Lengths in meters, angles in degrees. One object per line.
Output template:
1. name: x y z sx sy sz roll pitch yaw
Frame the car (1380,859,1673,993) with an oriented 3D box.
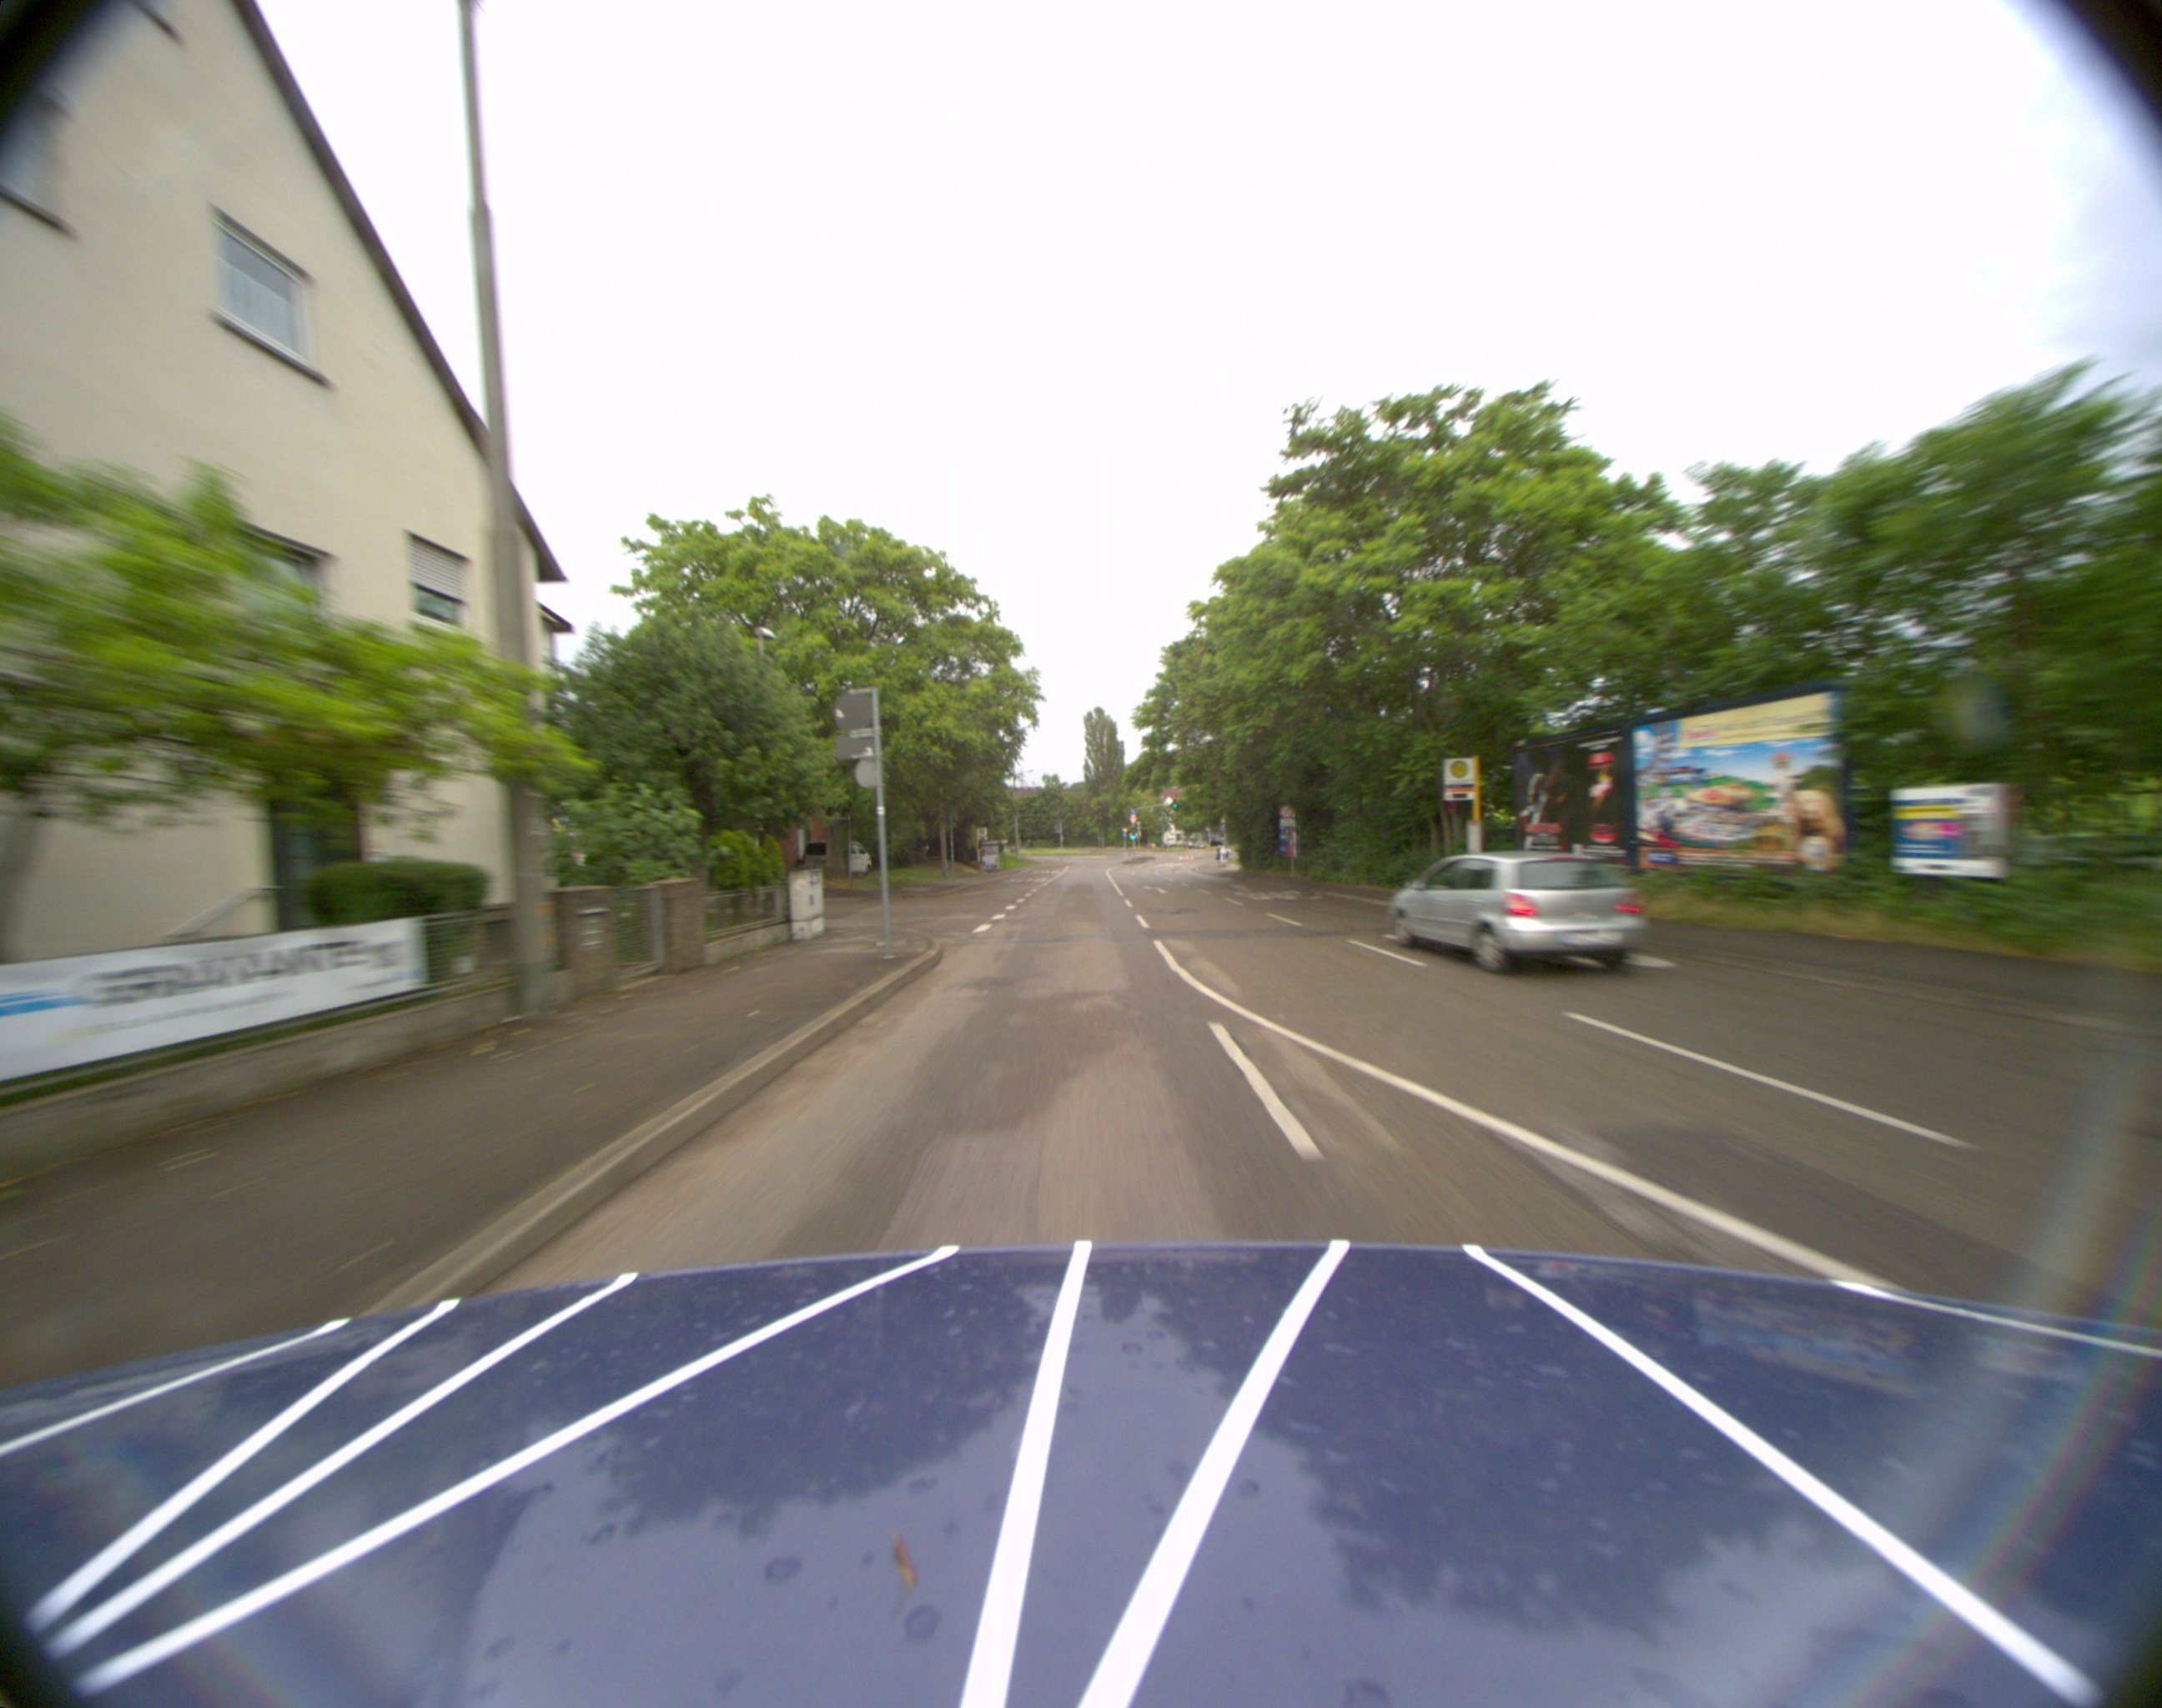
1. car: 5.645 0.804 10.280 1.658 1.408 3.935 1 0 0

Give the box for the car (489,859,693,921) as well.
1. car: -12.251 0.884 19.195 3.998 1.415 1.703 0 2 -2

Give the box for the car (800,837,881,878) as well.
1. car: -11.835 0.134 37.811 1.998 1.794 5.148 -2 0 4

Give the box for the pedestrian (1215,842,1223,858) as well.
1. pedestrian: 14.184 -0.443 78.050 0.656 1.592 0.678 -2 0 15

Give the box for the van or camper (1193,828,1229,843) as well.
1. van or camper: 23.806 -3.441 139.611 6.423 2.739 2.431 0 2 6

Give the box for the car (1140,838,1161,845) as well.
1. car: 13.206 -2.371 144.325 3.996 1.346 1.678 0 2 3

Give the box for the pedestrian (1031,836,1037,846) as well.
1. pedestrian: -7.761 -2.182 125.653 0.682 1.597 0.810 -2 0 10

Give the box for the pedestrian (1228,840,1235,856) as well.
1. pedestrian: 15.249 -0.582 76.869 0.656 1.593 0.678 -1 1 15

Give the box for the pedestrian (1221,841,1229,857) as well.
1. pedestrian: 14.696 -0.470 77.491 0.606 1.592 0.678 -2 0 15

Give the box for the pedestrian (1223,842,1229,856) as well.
1. pedestrian: 15.584 -0.515 81.622 0.592 1.523 0.669 -2 0 9

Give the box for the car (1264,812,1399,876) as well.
1. car: 10.682 -0.370 32.918 2.116 2.518 5.594 -3 0 -28

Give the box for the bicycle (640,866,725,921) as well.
1. bicycle: -8.264 0.802 15.774 1.574 1.108 0.457 0 1 5
